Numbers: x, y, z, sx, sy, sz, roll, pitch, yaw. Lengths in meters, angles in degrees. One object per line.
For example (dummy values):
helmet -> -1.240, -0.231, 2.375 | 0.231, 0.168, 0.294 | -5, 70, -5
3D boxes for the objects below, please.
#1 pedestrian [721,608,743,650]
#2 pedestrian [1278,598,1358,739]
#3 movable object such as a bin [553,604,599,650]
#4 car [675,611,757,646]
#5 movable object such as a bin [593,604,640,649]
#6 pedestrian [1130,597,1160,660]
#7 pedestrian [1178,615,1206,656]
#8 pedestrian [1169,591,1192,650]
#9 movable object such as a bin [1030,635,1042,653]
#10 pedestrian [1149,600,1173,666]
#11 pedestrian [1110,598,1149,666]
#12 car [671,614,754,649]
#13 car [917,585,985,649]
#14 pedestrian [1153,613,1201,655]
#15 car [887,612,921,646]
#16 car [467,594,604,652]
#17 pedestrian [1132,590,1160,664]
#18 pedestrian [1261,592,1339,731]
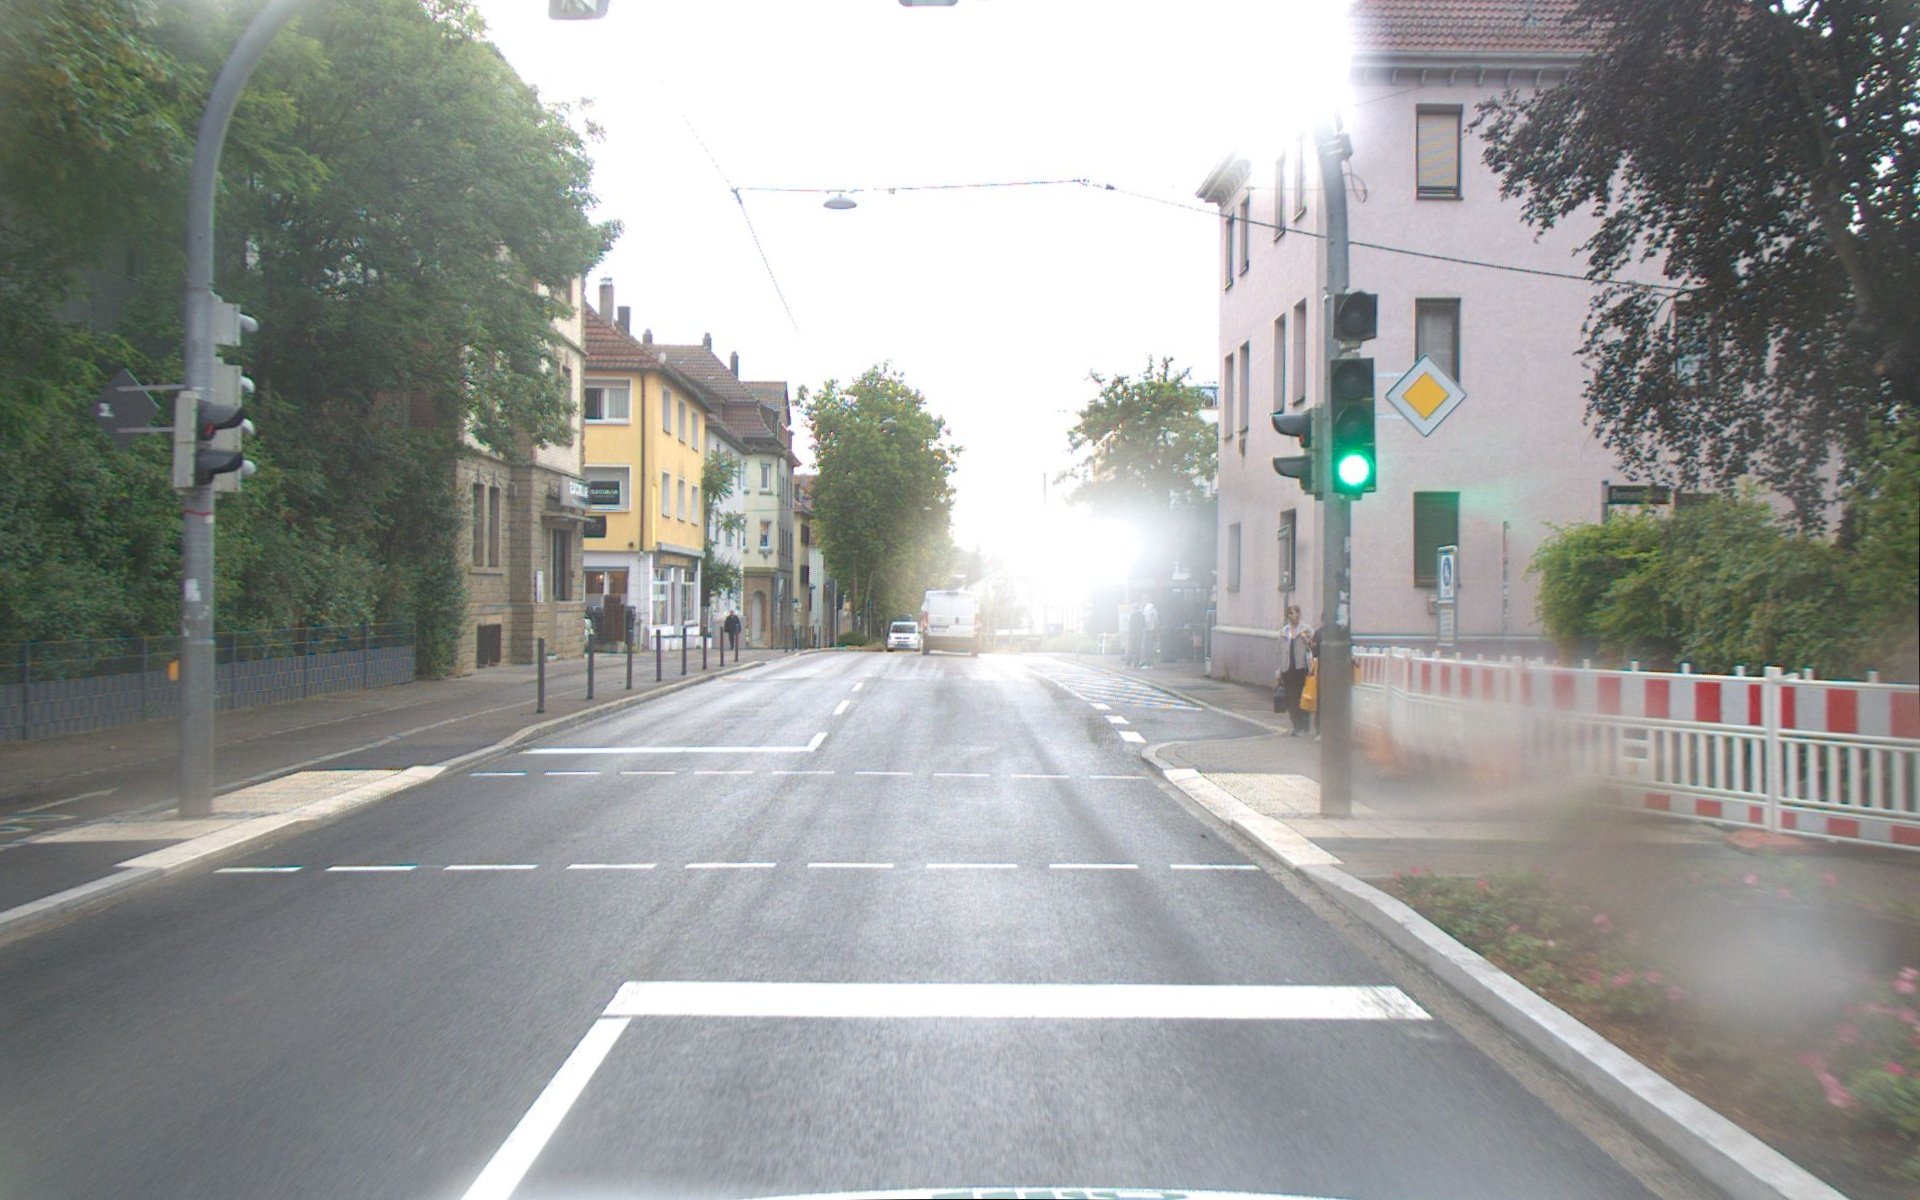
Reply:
pedestrian -> -9.618, 1.223, 69.714 | 0.799, 1.709, 0.992 | 2, -2, -3
pedestrian -> 4.221, 0.789, 19.458 | 0.856, 1.588, 1.050 | 1, -1, 14
movable object such as a bin -> -12.401, 0.863, 53.458 | 1.221, 1.465, 0.983 | 1, -1, -1
car -> -13.343, 1.577, 90.471 | 4.098, 1.615, 1.999 | 4, -1, -1
movable object such as a bin -> -11.108, 0.865, 53.507 | 1.275, 1.427, 0.983 | 1, -1, -1
pedestrian -> 5.267, 0.816, 47.141 | 0.647, 1.772, 0.828 | -1, -1, -6
pedestrian -> 6.999, 1.068, 49.910 | 0.647, 1.220, 0.740 | -1, -1, -6
pedestrian -> 7.045, 0.659, 52.778 | 0.633, 1.863, 0.742 | -1, -1, 13
movable object such as a bin -> 4.959, 2.867, 108.048 | 0.680, 1.101, 0.778 | -2, -2, 0
pedestrian -> 5.368, 0.878, 44.182 | 0.437, 1.738, 0.557 | -2, -1, 26
pedestrian -> 4.409, 0.832, 43.097 | 0.629, 1.740, 0.740 | -2, -1, -34
car -> -12.684, 1.622, 84.979 | 3.907, 1.478, 1.999 | 4, -1, -1
car -> -0.371, 0.595, 59.901 | 2.300, 2.198, 4.774 | 0, 0, -3
pedestrian -> 6.752, 1.050, 51.441 | 1.329, 1.295, 0.740 | -1, -1, -6
car -> -3.176, 1.680, 95.089 | 1.843, 1.903, 4.452 | 0, -2, 0
car -> -12.422, 0.665, 48.558 | 3.493, 1.512, 1.946 | 3, -1, -2
pedestrian -> 4.902, 0.710, 43.593 | 0.477, 1.908, 0.631 | -2, -1, 29
pedestrian -> 4.258, 0.754, 20.791 | 0.767, 1.670, 1.222 | 1, -1, 3
